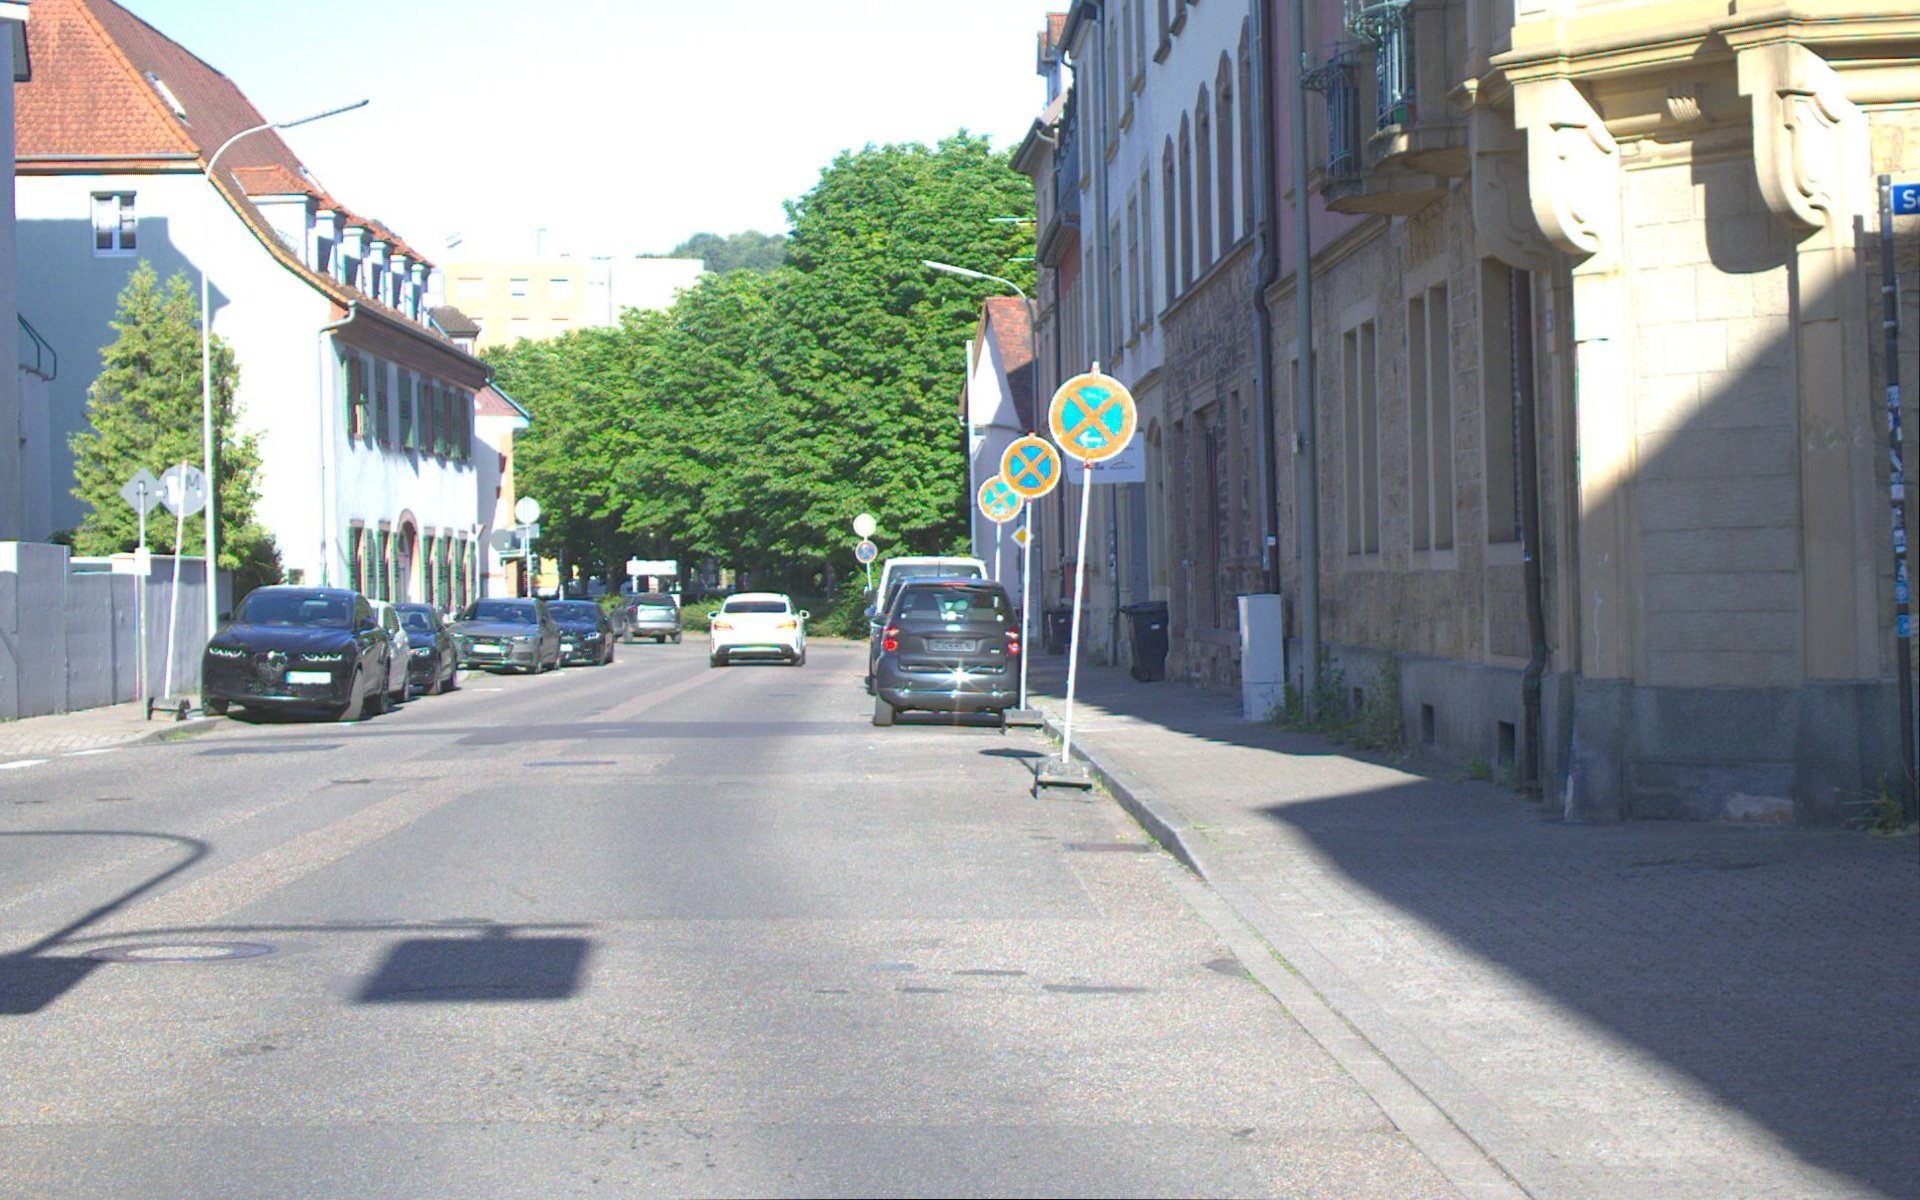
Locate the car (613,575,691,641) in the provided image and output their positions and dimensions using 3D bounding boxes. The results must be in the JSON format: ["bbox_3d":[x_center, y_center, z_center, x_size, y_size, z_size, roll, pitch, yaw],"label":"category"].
[{"bbox_3d":[-9.917,0.249,110.474,1.993,2.007,4.001,-2,1,-12],"label":"car"}]

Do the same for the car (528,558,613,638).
[{"bbox_3d":[-8.710,-0.064,77.050,1.630,1.625,3.175,-3,1,-3],"label":"car"}]

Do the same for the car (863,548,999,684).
[{"bbox_3d":[-0.490,0.211,53.076,1.841,1.899,4.001,-3,1,-3],"label":"car"}]

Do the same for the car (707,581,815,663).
[{"bbox_3d":[-3.910,0.407,67.067,1.993,1.461,4.001,-2,1,-4],"label":"car"}]

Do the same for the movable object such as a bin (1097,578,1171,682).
[{"bbox_3d":[2.407,0.406,47.692,0.871,1.373,0.685,-3,2,-5],"label":"movable object such as a bin"}]

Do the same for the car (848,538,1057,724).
[{"bbox_3d":[-0.140,0.276,36.692,2.010,1.846,4.001,0,1,-3],"label":"car"}]

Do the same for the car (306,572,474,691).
[{"bbox_3d":[-8.877,0.461,53.832,2.092,1.625,3.822,-3,2,-3],"label":"car"}]

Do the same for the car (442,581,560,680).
[{"bbox_3d":[-9.051,0.575,68.132,1.910,1.754,4.129,-3,2,-3],"label":"car"}]

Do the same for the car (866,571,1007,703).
[{"bbox_3d":[-0.292,0.481,48.161,1.818,1.625,4.000,-3,2,1],"label":"car"}]

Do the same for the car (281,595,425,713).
[{"bbox_3d":[-8.421,0.721,47.881,1.553,1.453,3.061,-3,1,-3],"label":"car"}]
